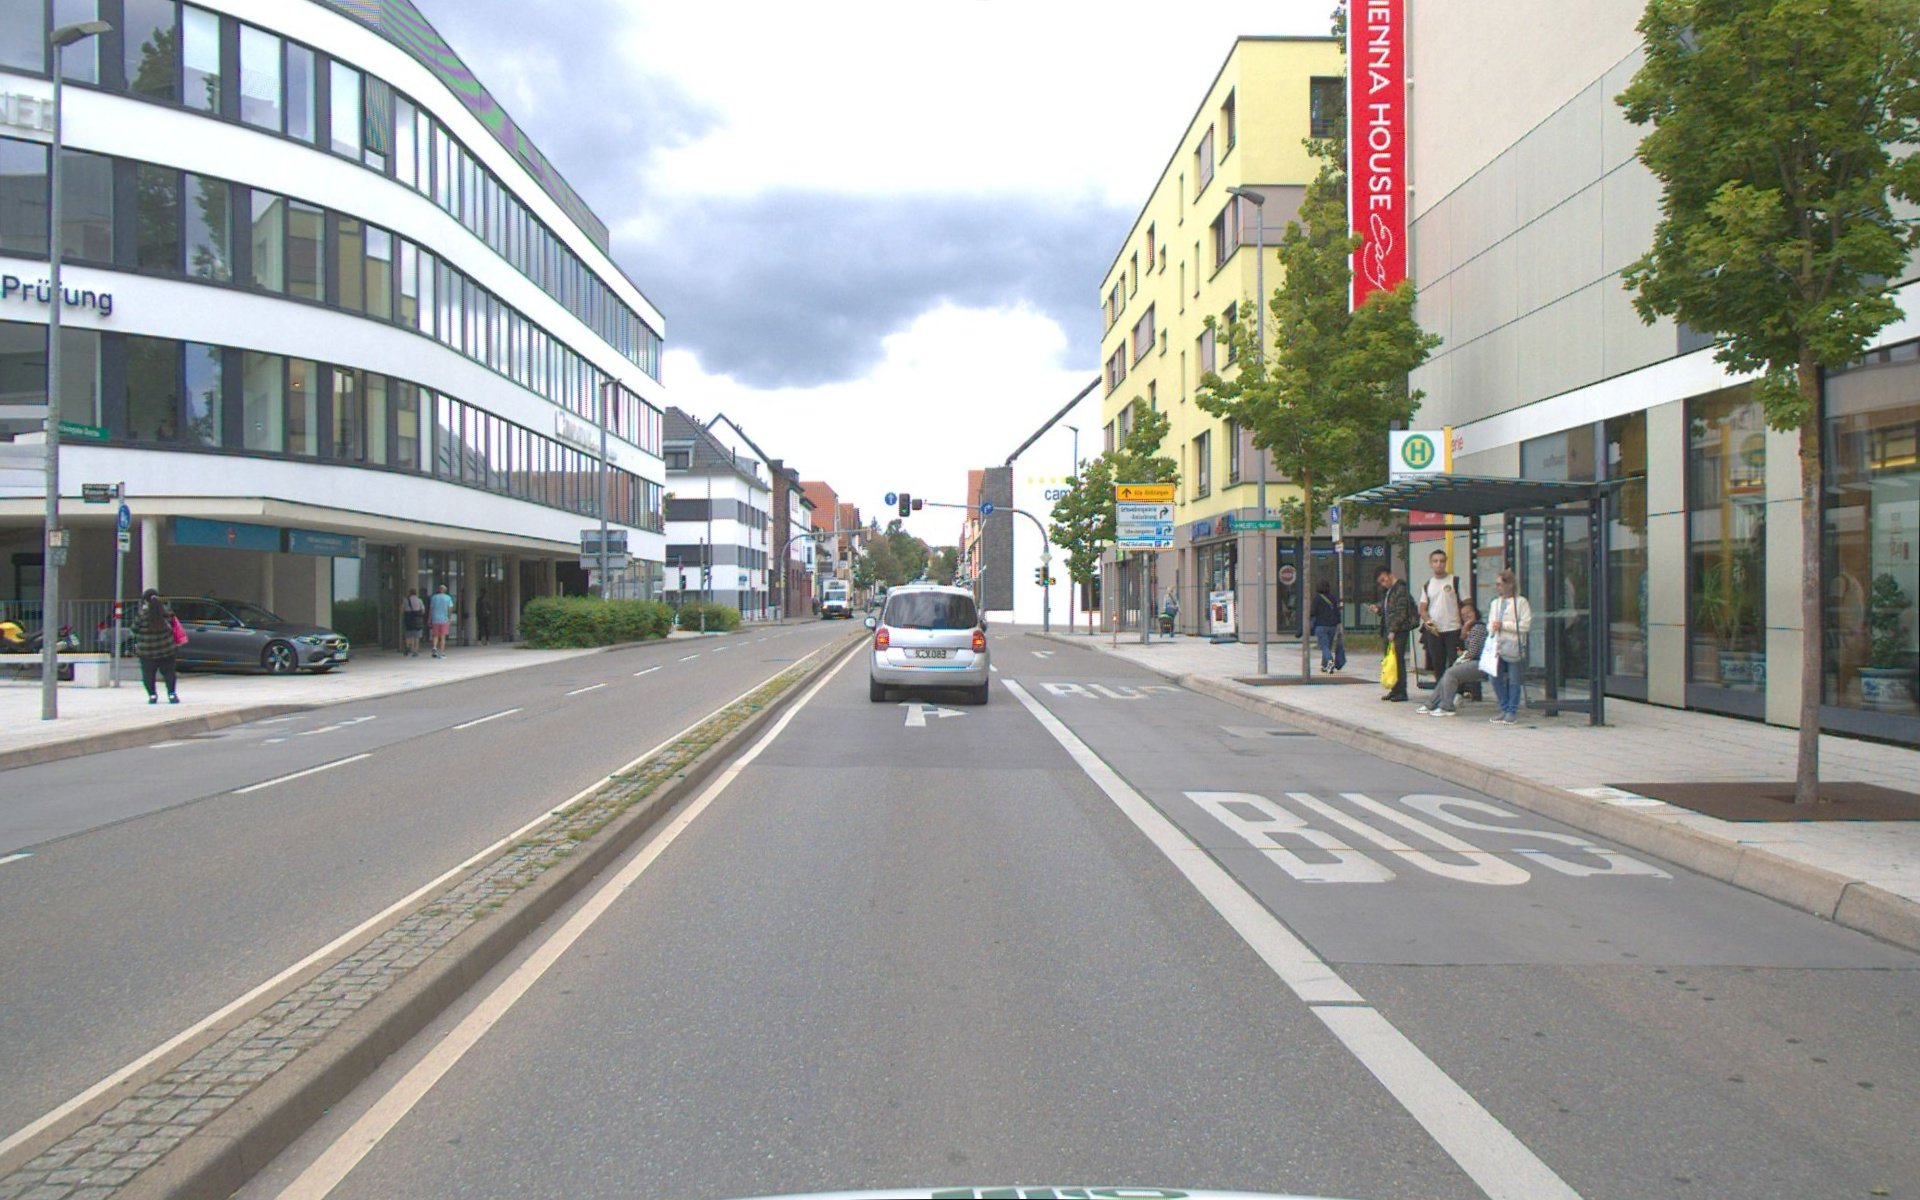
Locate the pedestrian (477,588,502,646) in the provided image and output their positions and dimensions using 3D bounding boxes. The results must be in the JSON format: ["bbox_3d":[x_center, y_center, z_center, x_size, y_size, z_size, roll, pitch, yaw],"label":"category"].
[{"bbox_3d":[-14.407,0.514,50.619,0.607,1.740,0.501,-1,0,-32],"label":"pedestrian"}]

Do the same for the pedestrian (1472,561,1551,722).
[{"bbox_3d":[5.695,0.418,17.098,0.567,1.618,0.733,-1,0,4],"label":"pedestrian"}]

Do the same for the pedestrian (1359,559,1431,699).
[{"bbox_3d":[5.462,0.353,20.809,0.705,1.713,0.733,-1,0,4],"label":"pedestrian"}]

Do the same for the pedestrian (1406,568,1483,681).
[{"bbox_3d":[7.079,0.347,24.207,0.851,1.611,0.804,-1,0,-2],"label":"pedestrian"}]

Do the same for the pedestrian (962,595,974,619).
[{"bbox_3d":[0.620,0.520,125.314,0.791,1.818,0.861,-3,0,-1],"label":"pedestrian"}]

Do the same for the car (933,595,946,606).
[{"bbox_3d":[-2.799,0.042,230.340,1.776,1.378,3.999,-1,0,-1],"label":"car"}]

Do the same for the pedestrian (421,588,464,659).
[{"bbox_3d":[-12.548,0.557,40.146,0.715,1.703,0.931,1,0,0],"label":"pedestrian"}]

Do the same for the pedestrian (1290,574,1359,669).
[{"bbox_3d":[6.307,0.361,28.645,0.928,1.611,1.015,-1,0,-2],"label":"pedestrian"}]

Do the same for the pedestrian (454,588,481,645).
[{"bbox_3d":[-15.214,0.513,51.096,0.495,1.760,0.614,-1,0,30],"label":"pedestrian"}]

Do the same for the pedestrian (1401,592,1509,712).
[{"bbox_3d":[5.500,0.566,18.418,0.924,1.281,0.732,-1,0,-4],"label":"pedestrian"}]

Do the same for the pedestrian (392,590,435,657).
[{"bbox_3d":[-13.525,0.573,40.926,0.715,1.641,0.931,1,0,0],"label":"pedestrian"}]

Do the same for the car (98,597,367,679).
[{"bbox_3d":[-14.092,0.715,32.195,4.363,1.440,1.903,1,0,3],"label":"car"}]

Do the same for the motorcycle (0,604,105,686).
[{"bbox_3d":[-15.875,0.774,28.596,1.816,1.356,0.636,1,0,2],"label":"motorcycle"}]

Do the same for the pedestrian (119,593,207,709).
[{"bbox_3d":[-11.309,0.710,23.492,0.812,1.594,0.813,1,0,4],"label":"pedestrian"}]

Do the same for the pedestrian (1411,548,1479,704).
[{"bbox_3d":[5.737,0.303,19.592,0.567,1.800,0.857,-1,0,4],"label":"pedestrian"}]

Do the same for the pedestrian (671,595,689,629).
[{"bbox_3d":[-14.543,0.618,86.013,0.866,1.698,0.812,-1,3,-12],"label":"pedestrian"}]

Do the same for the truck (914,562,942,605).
[{"bbox_3d":[-2.929,-1.517,153.996,2.543,3.925,6.847,0,0,-1],"label":"truck"}]

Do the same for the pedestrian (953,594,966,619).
[{"bbox_3d":[-0.022,0.488,126.420,0.871,1.818,0.785,-3,0,-1],"label":"pedestrian"}]

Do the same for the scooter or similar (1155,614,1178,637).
[{"bbox_3d":[6.545,0.810,52.371,0.580,0.684,0.824,-2,0,-2],"label":"scooter or similar"}]

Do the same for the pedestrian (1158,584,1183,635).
[{"bbox_3d":[6.761,0.298,53.096,0.681,1.621,0.603,-2,0,-2],"label":"pedestrian"}]

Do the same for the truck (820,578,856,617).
[{"bbox_3d":[-9.539,-0.204,130.207,2.386,3.005,8.362,1,0,-1],"label":"truck"}]

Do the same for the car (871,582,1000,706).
[{"bbox_3d":[-0.376,0.572,23.864,1.672,1.606,3.999,1,0,-2],"label":"car"}]
